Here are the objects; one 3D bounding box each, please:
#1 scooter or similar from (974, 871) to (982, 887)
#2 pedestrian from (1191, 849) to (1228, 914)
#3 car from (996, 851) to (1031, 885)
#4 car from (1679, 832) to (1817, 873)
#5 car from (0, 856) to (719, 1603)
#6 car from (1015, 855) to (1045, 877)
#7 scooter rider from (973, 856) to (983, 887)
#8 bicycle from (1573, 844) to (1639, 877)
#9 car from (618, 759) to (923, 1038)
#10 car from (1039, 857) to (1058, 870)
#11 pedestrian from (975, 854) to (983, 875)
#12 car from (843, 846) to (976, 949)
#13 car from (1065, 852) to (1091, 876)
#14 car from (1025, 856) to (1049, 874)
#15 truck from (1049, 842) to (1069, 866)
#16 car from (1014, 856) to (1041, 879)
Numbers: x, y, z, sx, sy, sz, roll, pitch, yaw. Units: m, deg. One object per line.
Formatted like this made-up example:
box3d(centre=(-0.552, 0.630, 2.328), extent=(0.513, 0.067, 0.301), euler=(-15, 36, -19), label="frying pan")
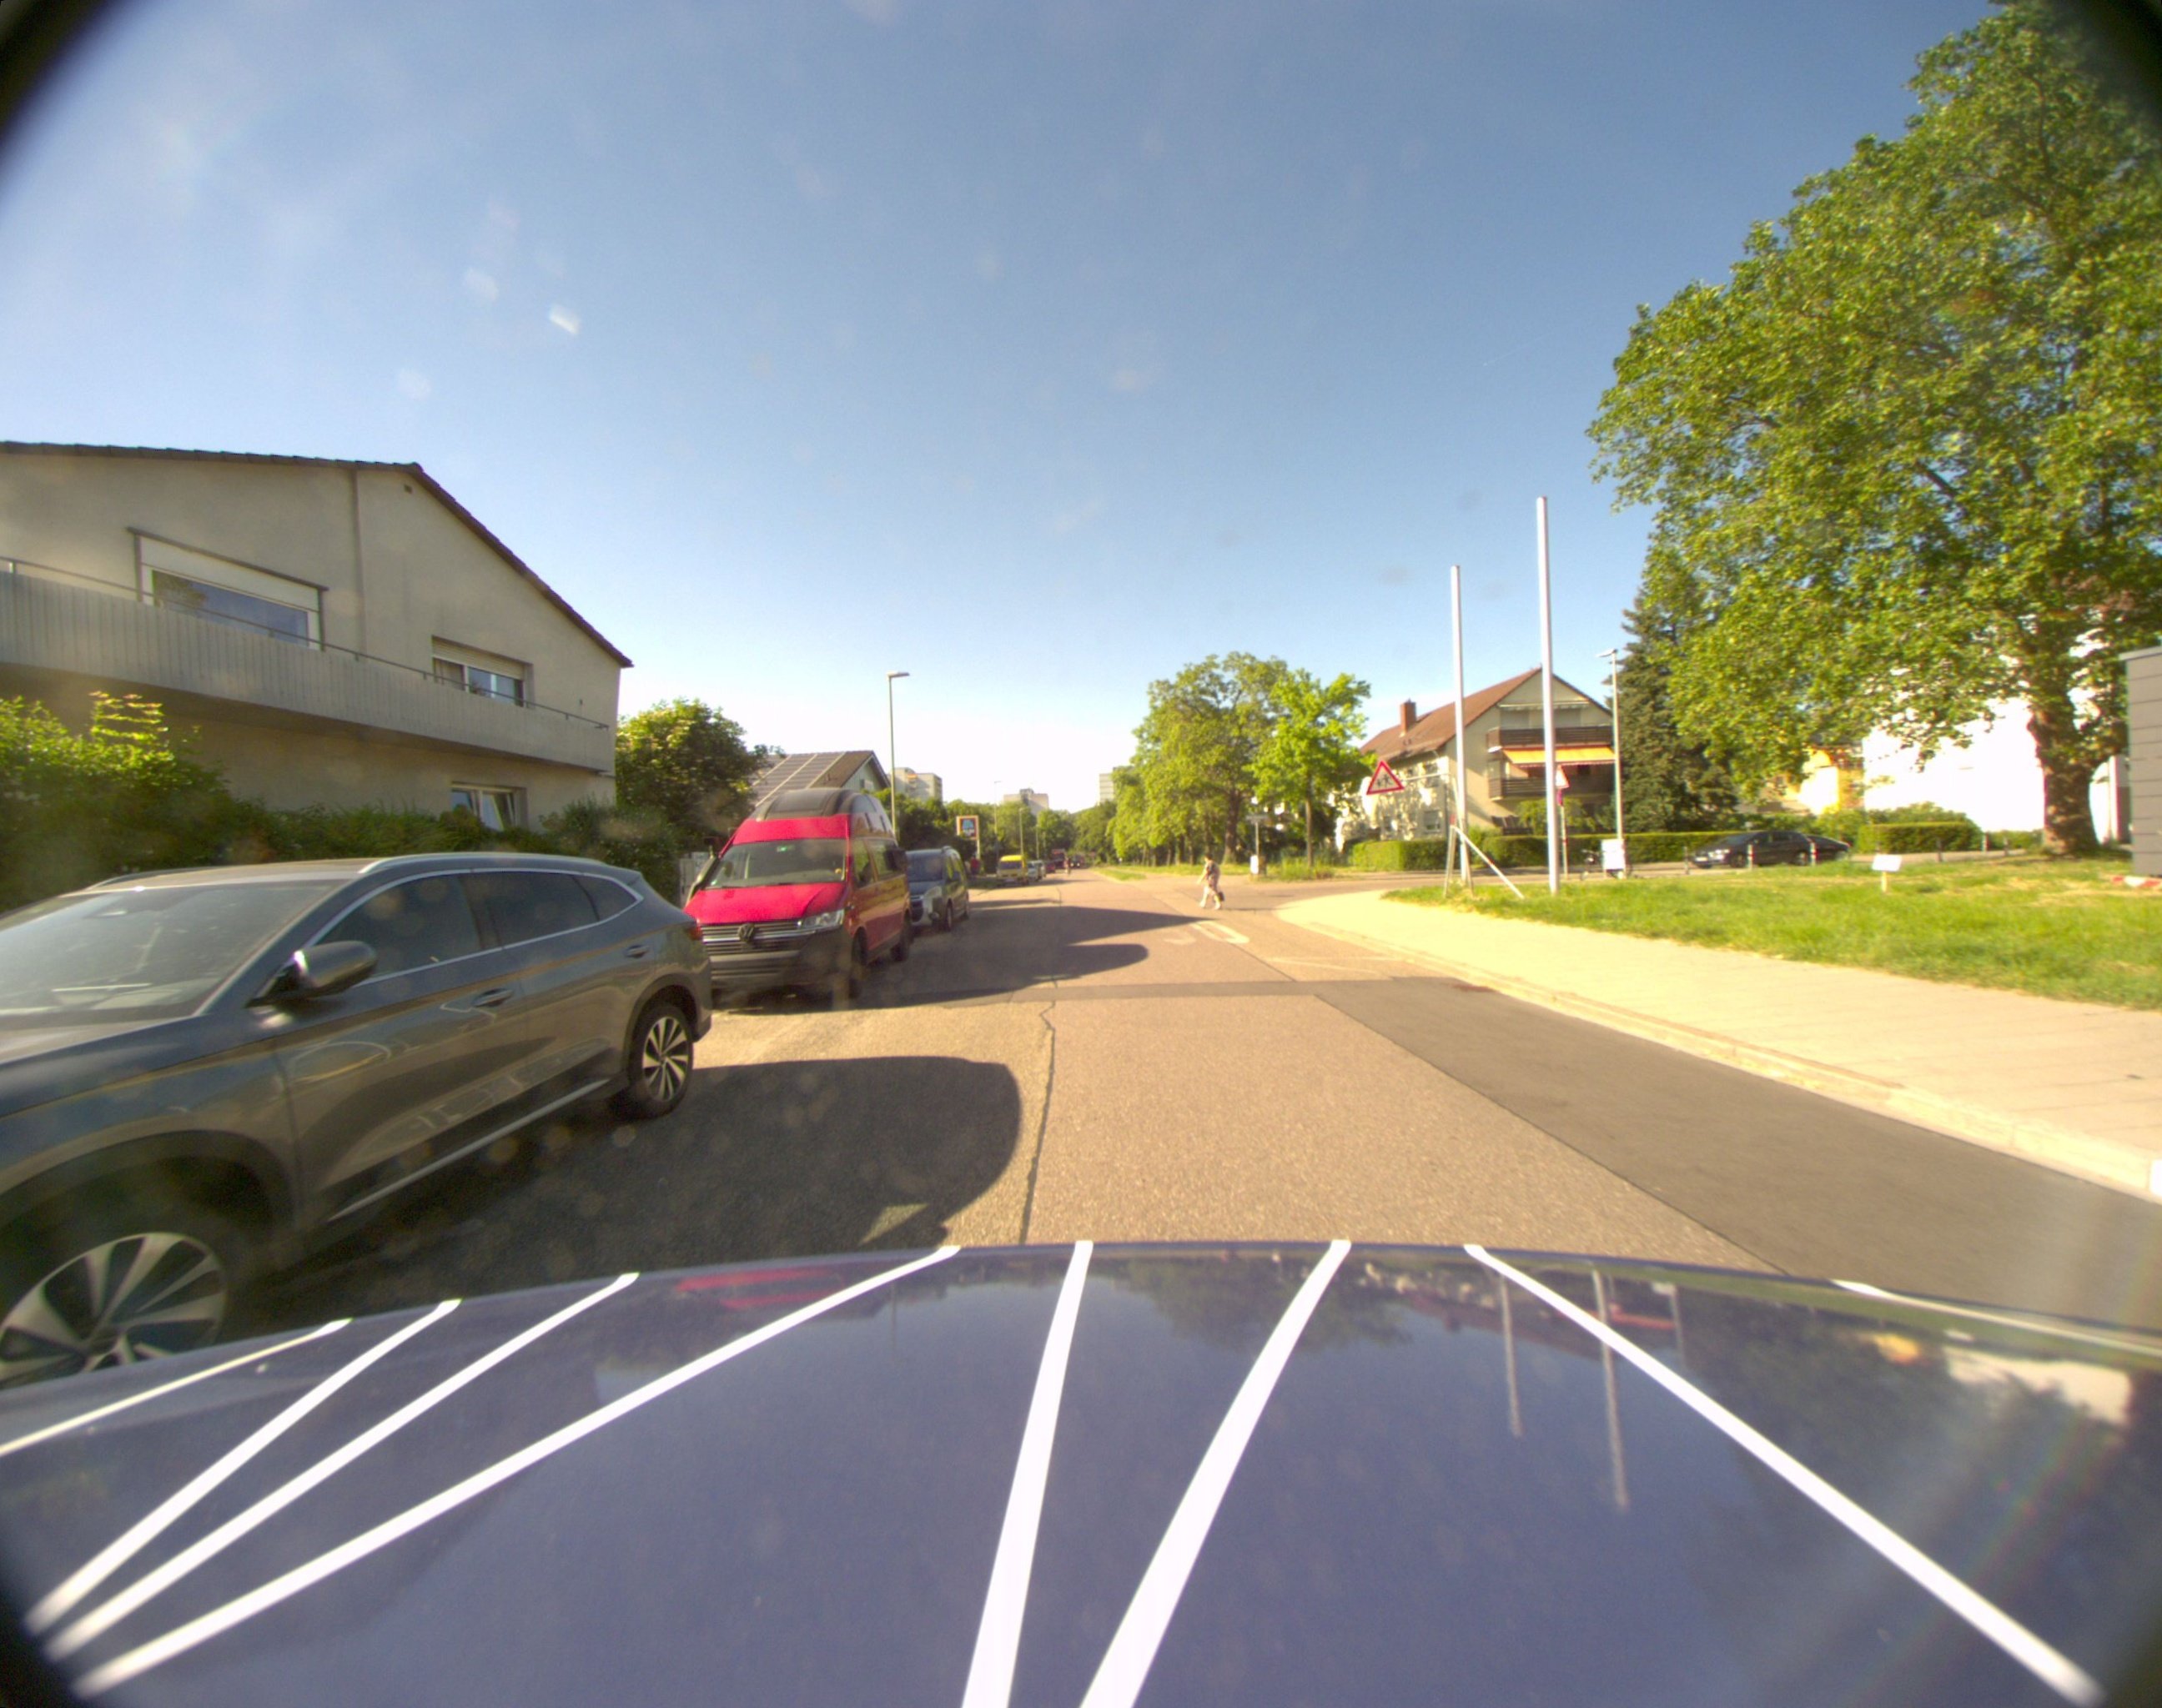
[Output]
box3d(centre=(-6.706, 1.628, 49.542), extent=(0.457, 1.024, 1.049), euler=(1, 0, -6), label="scooter or similar")
box3d(centre=(3.257, 0.686, 19.247), extent=(0.834, 1.578, 0.632), euler=(1, 3, 18), label="pedestrian")
box3d(centre=(-3.847, 0.753, 43.779), extent=(1.621, 1.766, 3.981), euler=(-3, 0, -1), label="car")
box3d(centre=(28.215, -0.108, 32.243), extent=(4.107, 1.449, 2.115), euler=(-3, 2, -3), label="car")
box3d(centre=(-3.597, 0.949, 3.143), extent=(1.962, 1.728, 4.575), euler=(-3, 1, -1), label="car")
box3d(centre=(-4.081, 0.933, 61.160), extent=(1.998, 1.587, 4.578), euler=(-3, 0, 0), label="car")
box3d(centre=(-6.713, 1.141, 49.522), extent=(0.599, 2.002, 0.486), euler=(1, 0, -6), label="scooter rider")
box3d(centre=(16.393, 0.204, 23.754), extent=(1.598, 0.978, 0.501), euler=(-1, -2, 16), label="bicycle")
box3d(centre=(-3.582, 0.425, 10.091), extent=(1.962, 2.629, 5.221), euler=(-4, 0, -3), label="car")
box3d(centre=(-4.192, 1.196, 99.345), extent=(1.998, 1.587, 4.578), euler=(-3, 0, 2), label="car")
box3d(centre=(-8.587, 0.867, 63.996), extent=(0.541, 1.758, 0.590), euler=(-3, 1, -1), label="pedestrian")
box3d(centre=(-3.635, 0.835, 17.003), extent=(1.862, 1.837, 4.559), euler=(-5, 0, -1), label="car")
box3d(centre=(-0.317, 0.845, 68.335), extent=(1.966, 1.908, 4.575), euler=(-3, 1, -4), label="car")
box3d(centre=(-4.182, 1.064, 72.985), extent=(1.999, 1.587, 4.577), euler=(-3, 0, -1), label="car")
box3d(centre=(-4.445, -0.064, 154.294), extent=(3.602, 4.544, 10.023), euler=(-3, 0, 0), label="truck")
box3d(centre=(-3.852, 0.978, 55.419), extent=(1.621, 1.478, 3.981), euler=(-3, 0, -1), label="car")
